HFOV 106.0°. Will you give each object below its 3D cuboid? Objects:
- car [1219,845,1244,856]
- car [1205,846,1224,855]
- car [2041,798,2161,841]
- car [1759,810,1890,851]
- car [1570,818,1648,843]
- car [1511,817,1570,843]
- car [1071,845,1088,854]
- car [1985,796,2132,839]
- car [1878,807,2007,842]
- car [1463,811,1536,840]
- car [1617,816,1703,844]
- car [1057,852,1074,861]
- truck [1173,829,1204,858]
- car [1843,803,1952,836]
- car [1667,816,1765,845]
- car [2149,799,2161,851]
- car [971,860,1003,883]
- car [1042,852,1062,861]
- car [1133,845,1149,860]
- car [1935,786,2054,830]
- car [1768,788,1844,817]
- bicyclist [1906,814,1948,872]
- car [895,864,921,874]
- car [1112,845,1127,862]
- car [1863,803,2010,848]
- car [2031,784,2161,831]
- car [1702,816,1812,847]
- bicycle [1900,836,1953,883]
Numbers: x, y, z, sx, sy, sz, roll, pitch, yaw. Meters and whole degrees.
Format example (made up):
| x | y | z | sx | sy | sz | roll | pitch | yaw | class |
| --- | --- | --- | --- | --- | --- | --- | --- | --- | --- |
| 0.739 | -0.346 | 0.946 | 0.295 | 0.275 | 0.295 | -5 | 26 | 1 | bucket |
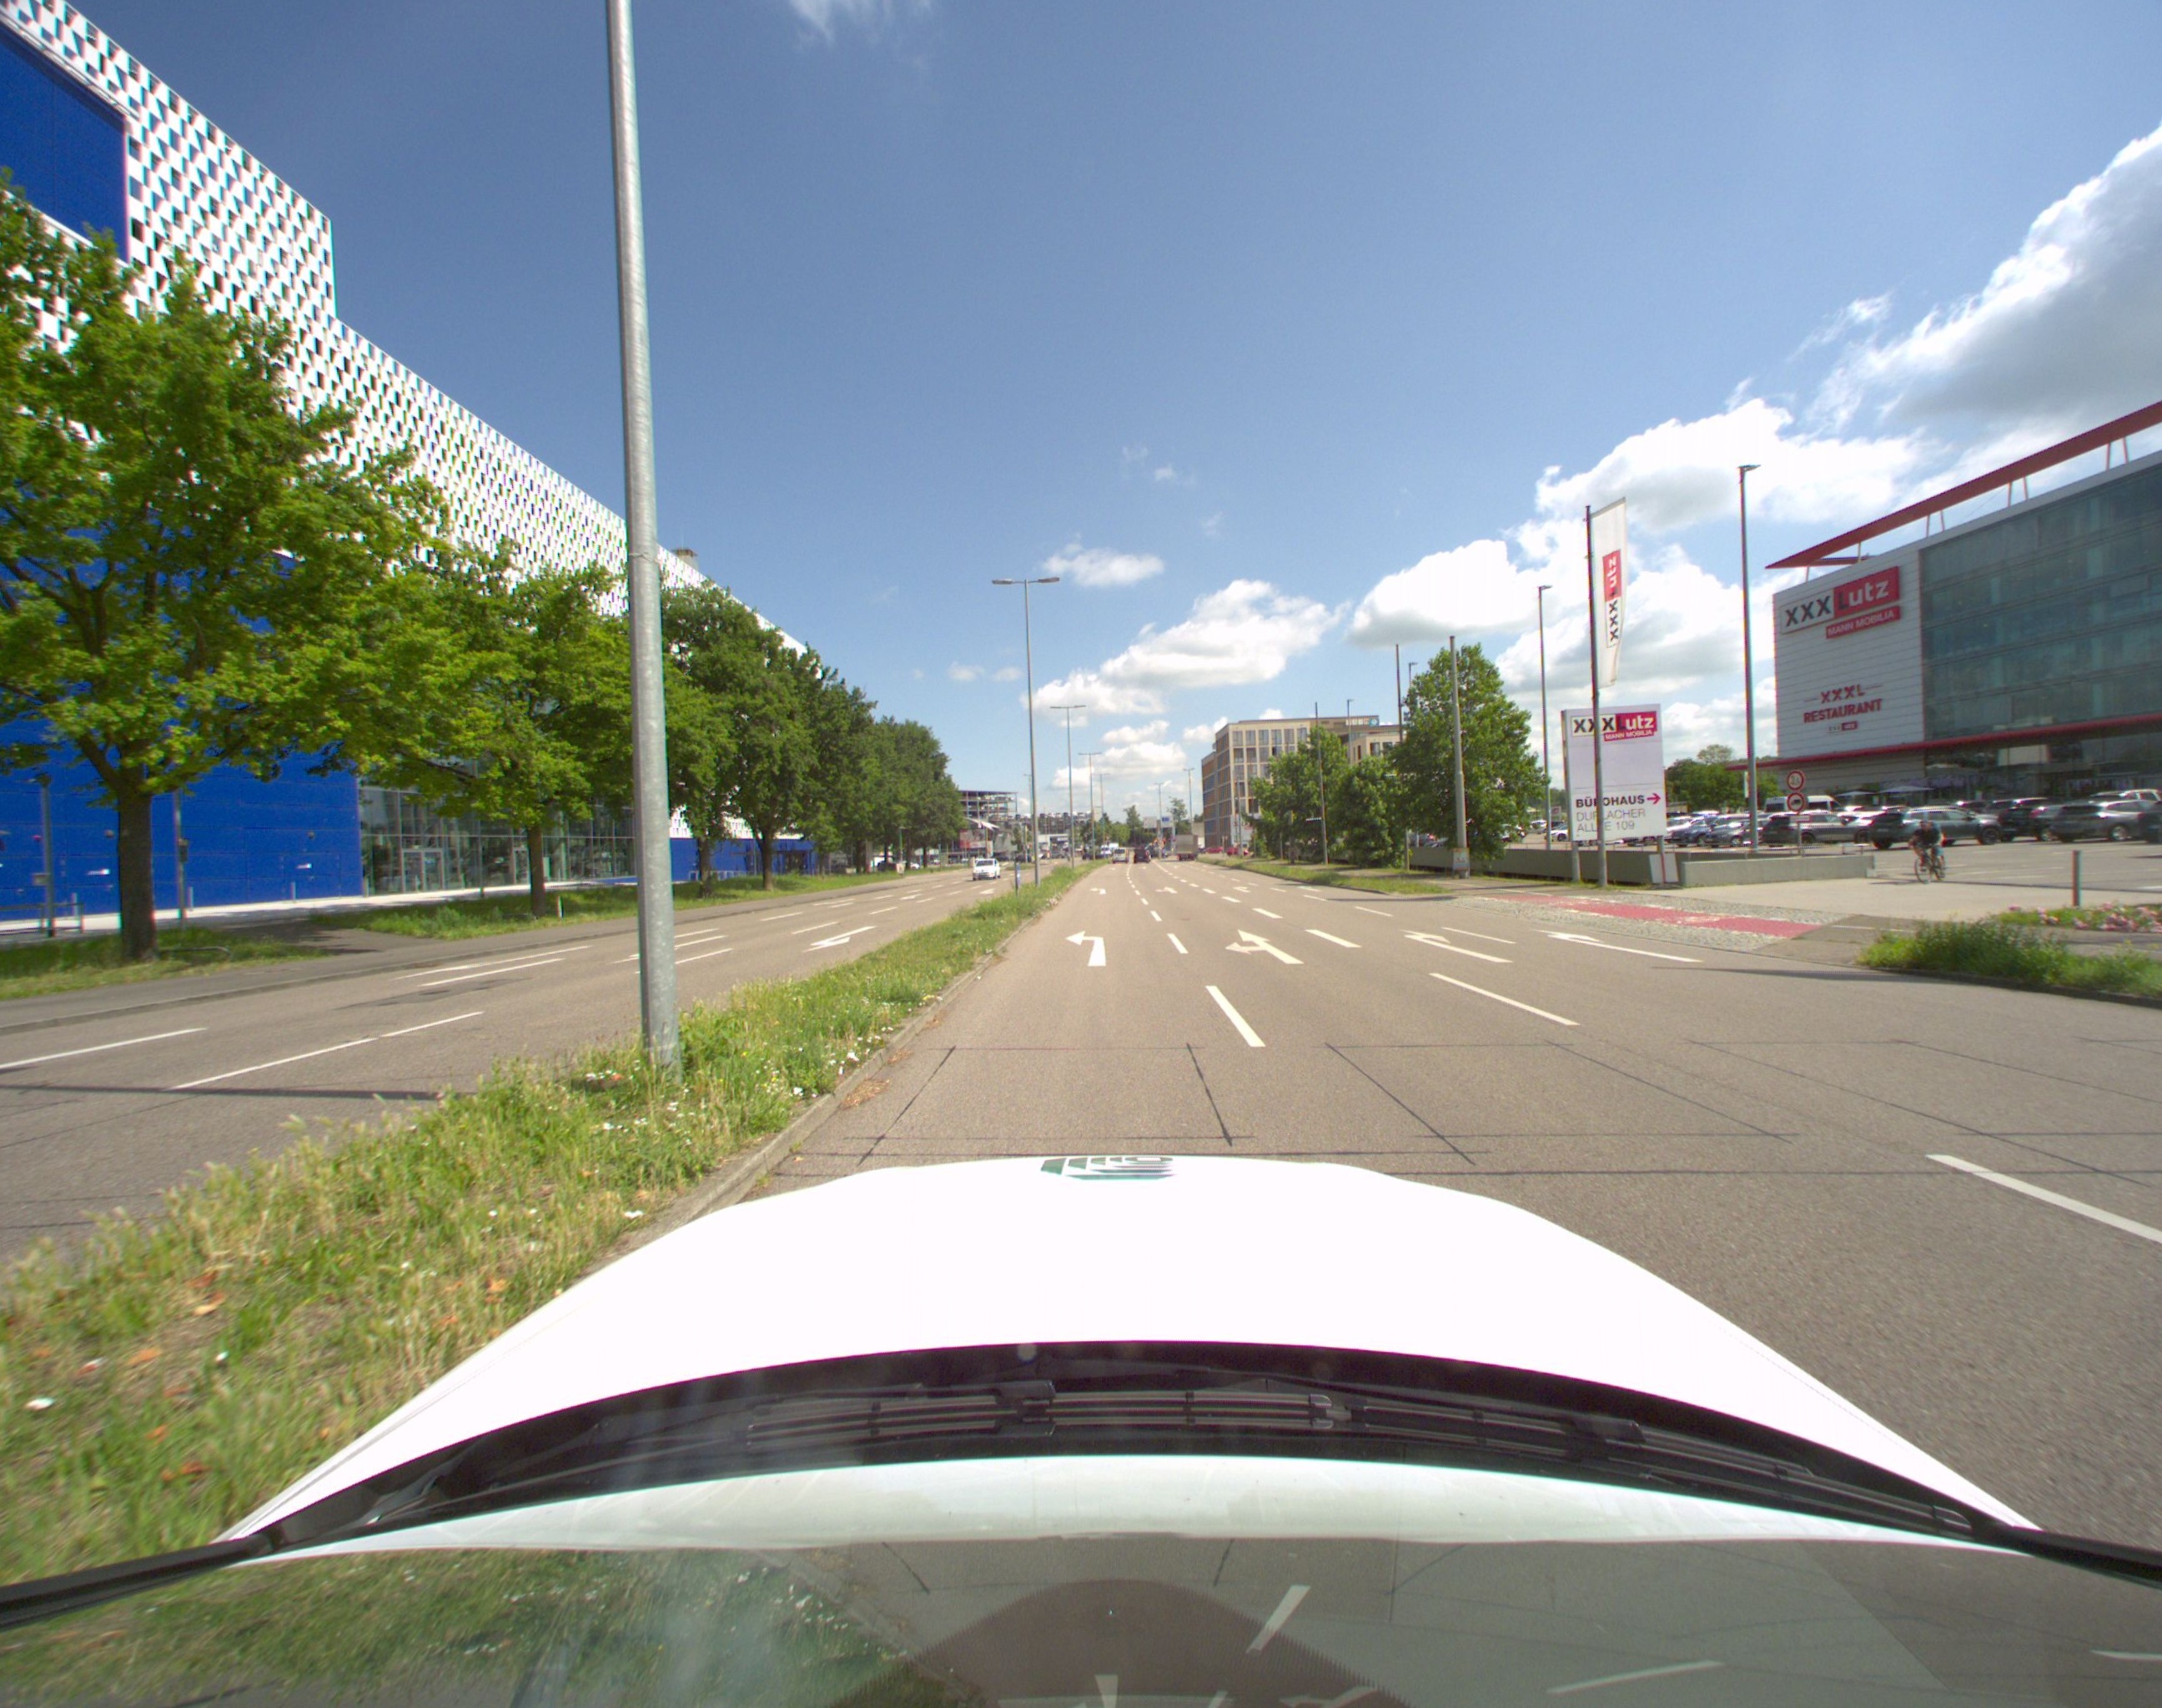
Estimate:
| x | y | z | sx | sy | sz | roll | pitch | yaw | class |
| --- | --- | --- | --- | --- | --- | --- | --- | --- | --- |
| 24.724 | -0.570 | 134.119 | 3.962 | 1.661 | 2.006 | -2 | 1 | 10 | car |
| 24.421 | -0.676 | 149.222 | 3.261 | 1.405 | 1.335 | -2 | 9 | 1 | car |
| 39.989 | -1.337 | 31.139 | 4.344 | 1.499 | 1.891 | -2 | 0 | 0 | car |
| 35.096 | -1.097 | 38.529 | 4.344 | 1.574 | 2.030 | -4 | 1 | 0 | car |
| 36.345 | -1.594 | 56.113 | 4.172 | 1.389 | 1.892 | -4 | 1 | -2 | car |
| 40.393 | -2.109 | 71.604 | 3.971 | 2.013 | 2.001 | -4 | 0 | 2 | car |
| -0.326 | -1.054 | 196.479 | 3.977 | 1.925 | 1.825 | -2 | 0 | -3 | car |
| 40.343 | -1.477 | 33.675 | 3.974 | 1.464 | 1.728 | -4 | 1 | 0 | car |
| 40.584 | -1.371 | 38.423 | 4.225 | 1.464 | 1.760 | -2 | 1 | 0 | car |
| 38.291 | -2.595 | 74.594 | 5.640 | 2.366 | 2.061 | -2 | 0 | 0 | car |
| 36.378 | -1.495 | 51.228 | 3.975 | 1.571 | 1.999 | -2 | 0 | -1 | car |
| -3.317 | 0.549 | 175.327 | 3.496 | 1.712 | 1.603 | -4 | 1 | 0 | car |
| 15.307 | -1.553 | 115.327 | 3.106 | 3.940 | 8.895 | -2 | 1 | 15 | truck |
| 40.633 | -1.720 | 40.584 | 3.753 | 1.387 | 1.615 | -4 | 1 | 0 | car |
| 35.804 | -1.329 | 46.007 | 4.168 | 1.325 | 1.689 | -4 | 0 | 1 | car |
| 33.942 | -0.992 | 23.514 | 4.043 | 1.531 | 1.741 | -4 | 0 | -2 | car |
| -6.682 | 1.214 | 58.072 | 1.637 | 1.428 | 3.672 | -4 | 0 | 2 | car |
| -5.790 | 0.493 | 165.271 | 3.849 | 1.639 | 1.858 | -4 | 1 | 0 | car |
| 7.497 | -0.172 | 101.491 | 1.810 | 1.808 | 4.008 | -1 | 0 | 7 | car |
| 48.601 | -2.443 | 43.402 | 3.972 | 2.013 | 2.001 | -4 | 1 | 1 | car |
| 55.235 | -3.897 | 62.057 | 3.972 | 1.951 | 2.001 | -2 | 1 | 2 | car |
| 21.547 | -0.281 | 20.752 | 0.718 | 1.412 | 0.610 | -3 | 1 | -35 | bicyclist |
| -28.598 | 2.427 | 134.364 | 3.837 | 1.466 | 1.696 | -2 | 1 | 0 | car |
| 4.936 | -0.101 | 104.289 | 1.849 | 2.018 | 4.003 | -2 | 1 | 2 | car |
| 35.303 | -1.152 | 33.681 | 4.168 | 1.552 | 1.765 | -4 | 1 | 0 | car |
| 47.900 | -2.180 | 38.313 | 3.971 | 2.013 | 2.001 | -2 | 1 | 2 | car |
| 35.713 | -1.194 | 43.098 | 4.344 | 1.325 | 1.765 | -4 | 1 | 0 | car |
| 21.504 | 0.132 | 20.710 | 1.976 | 1.067 | 0.618 | -4 | 1 | -36 | bicycle |
